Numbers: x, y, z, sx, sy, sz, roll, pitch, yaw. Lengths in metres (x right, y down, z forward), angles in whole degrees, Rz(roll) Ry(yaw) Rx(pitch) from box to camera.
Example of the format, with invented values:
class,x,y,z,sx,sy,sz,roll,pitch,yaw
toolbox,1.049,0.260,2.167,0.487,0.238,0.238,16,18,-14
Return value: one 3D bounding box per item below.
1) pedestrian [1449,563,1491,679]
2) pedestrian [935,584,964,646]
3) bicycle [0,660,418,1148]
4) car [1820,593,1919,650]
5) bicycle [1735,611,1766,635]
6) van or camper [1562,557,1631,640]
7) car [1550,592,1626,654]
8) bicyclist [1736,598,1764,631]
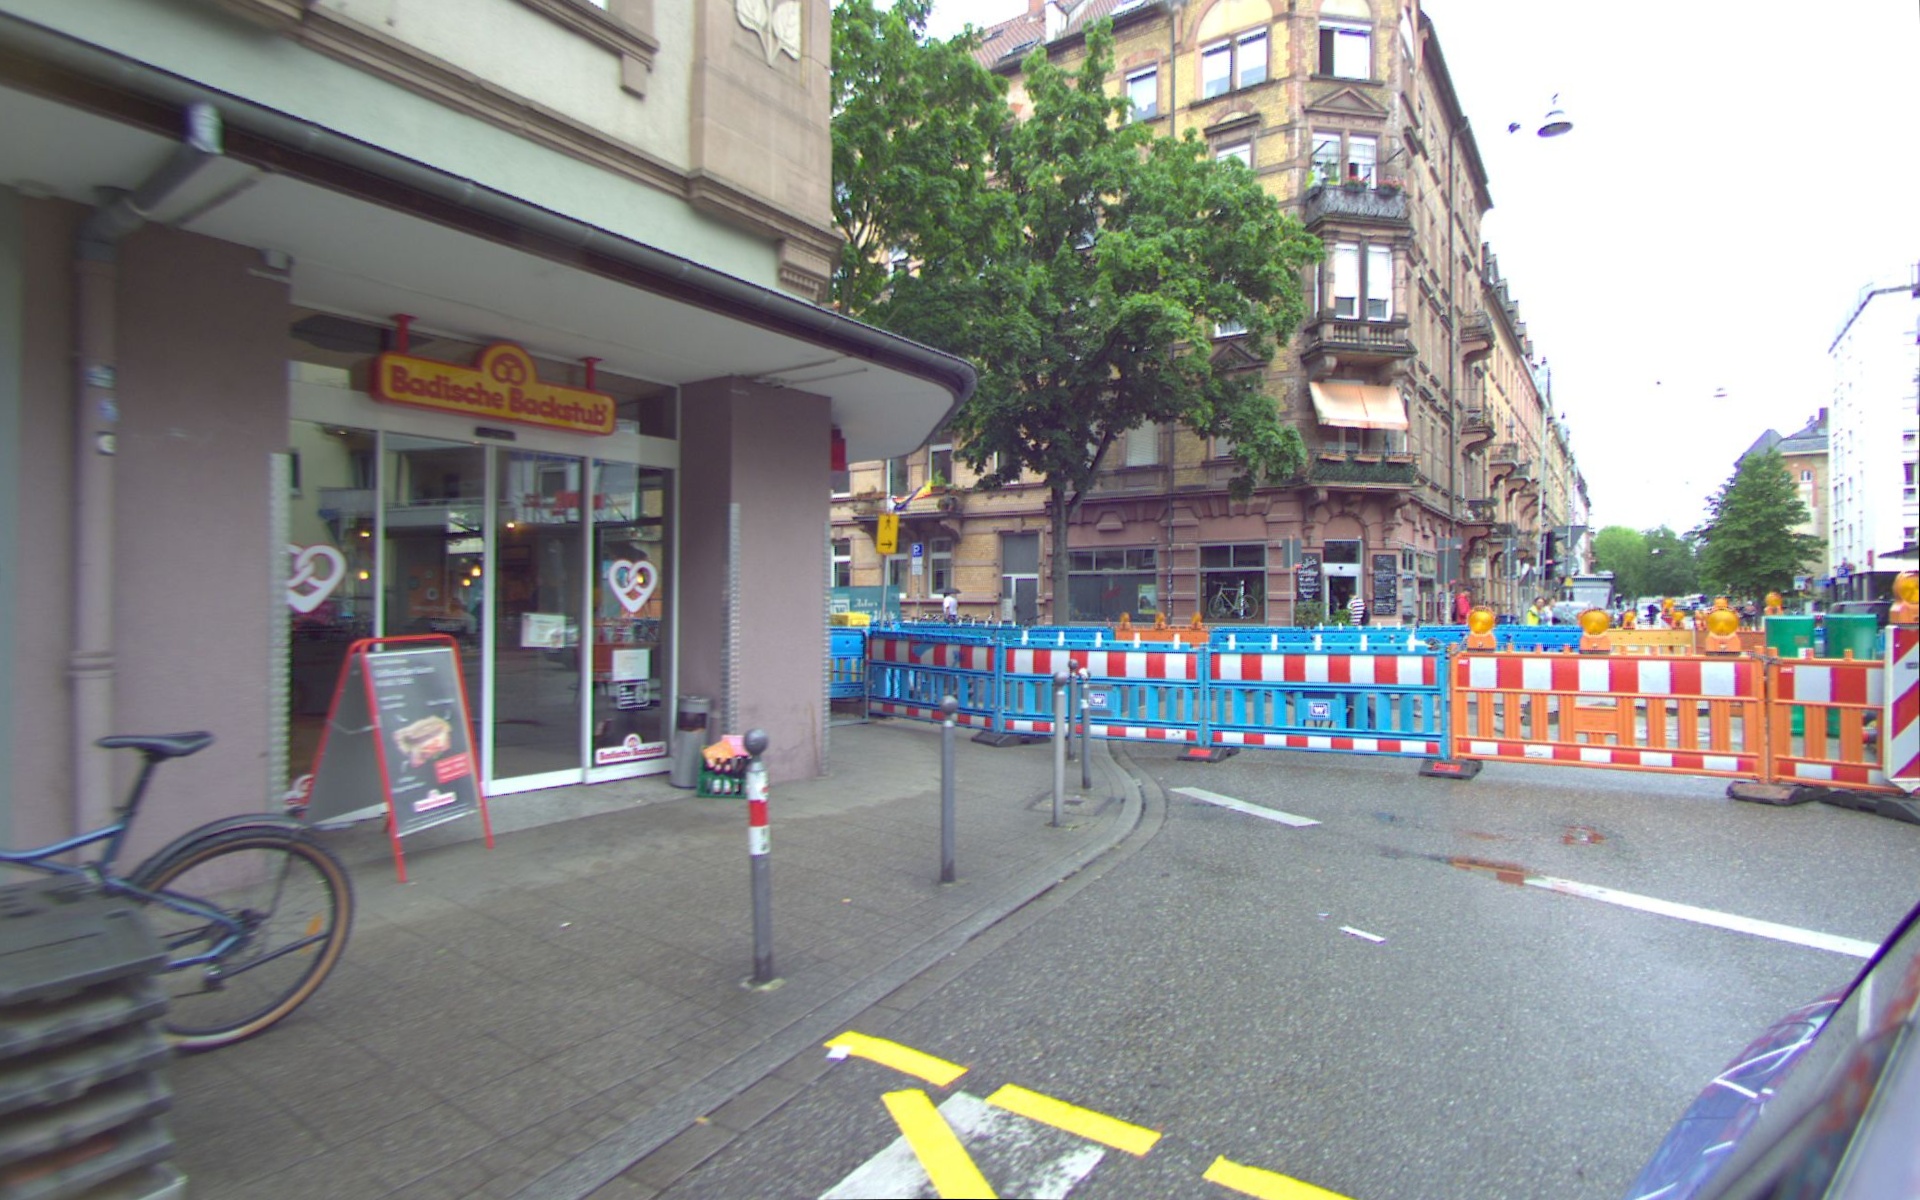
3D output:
class,x,y,z,sx,sy,sz,roll,pitch,yaw
pedestrian,11.853,0.483,23.534,0.683,2.642,0.540,-1,-1,3
pedestrian,-0.343,0.480,32.204,0.636,1.943,0.665,-1,-1,36
bicycle,-2.606,0.798,2.796,0.620,1.142,1.917,0,0,31
car,30.881,0.702,34.333,1.886,1.812,3.957,0,-1,30
bicycle,40.281,1.146,51.604,0.986,1.170,2.842,-1,-1,33
van or camper,28.175,-0.026,44.770,2.395,3.370,6.989,-1,-1,33
car,19.748,0.691,31.966,1.886,1.812,3.957,0,-1,30
bicyclist,40.277,0.728,51.604,0.986,1.621,1.247,-1,-1,33
